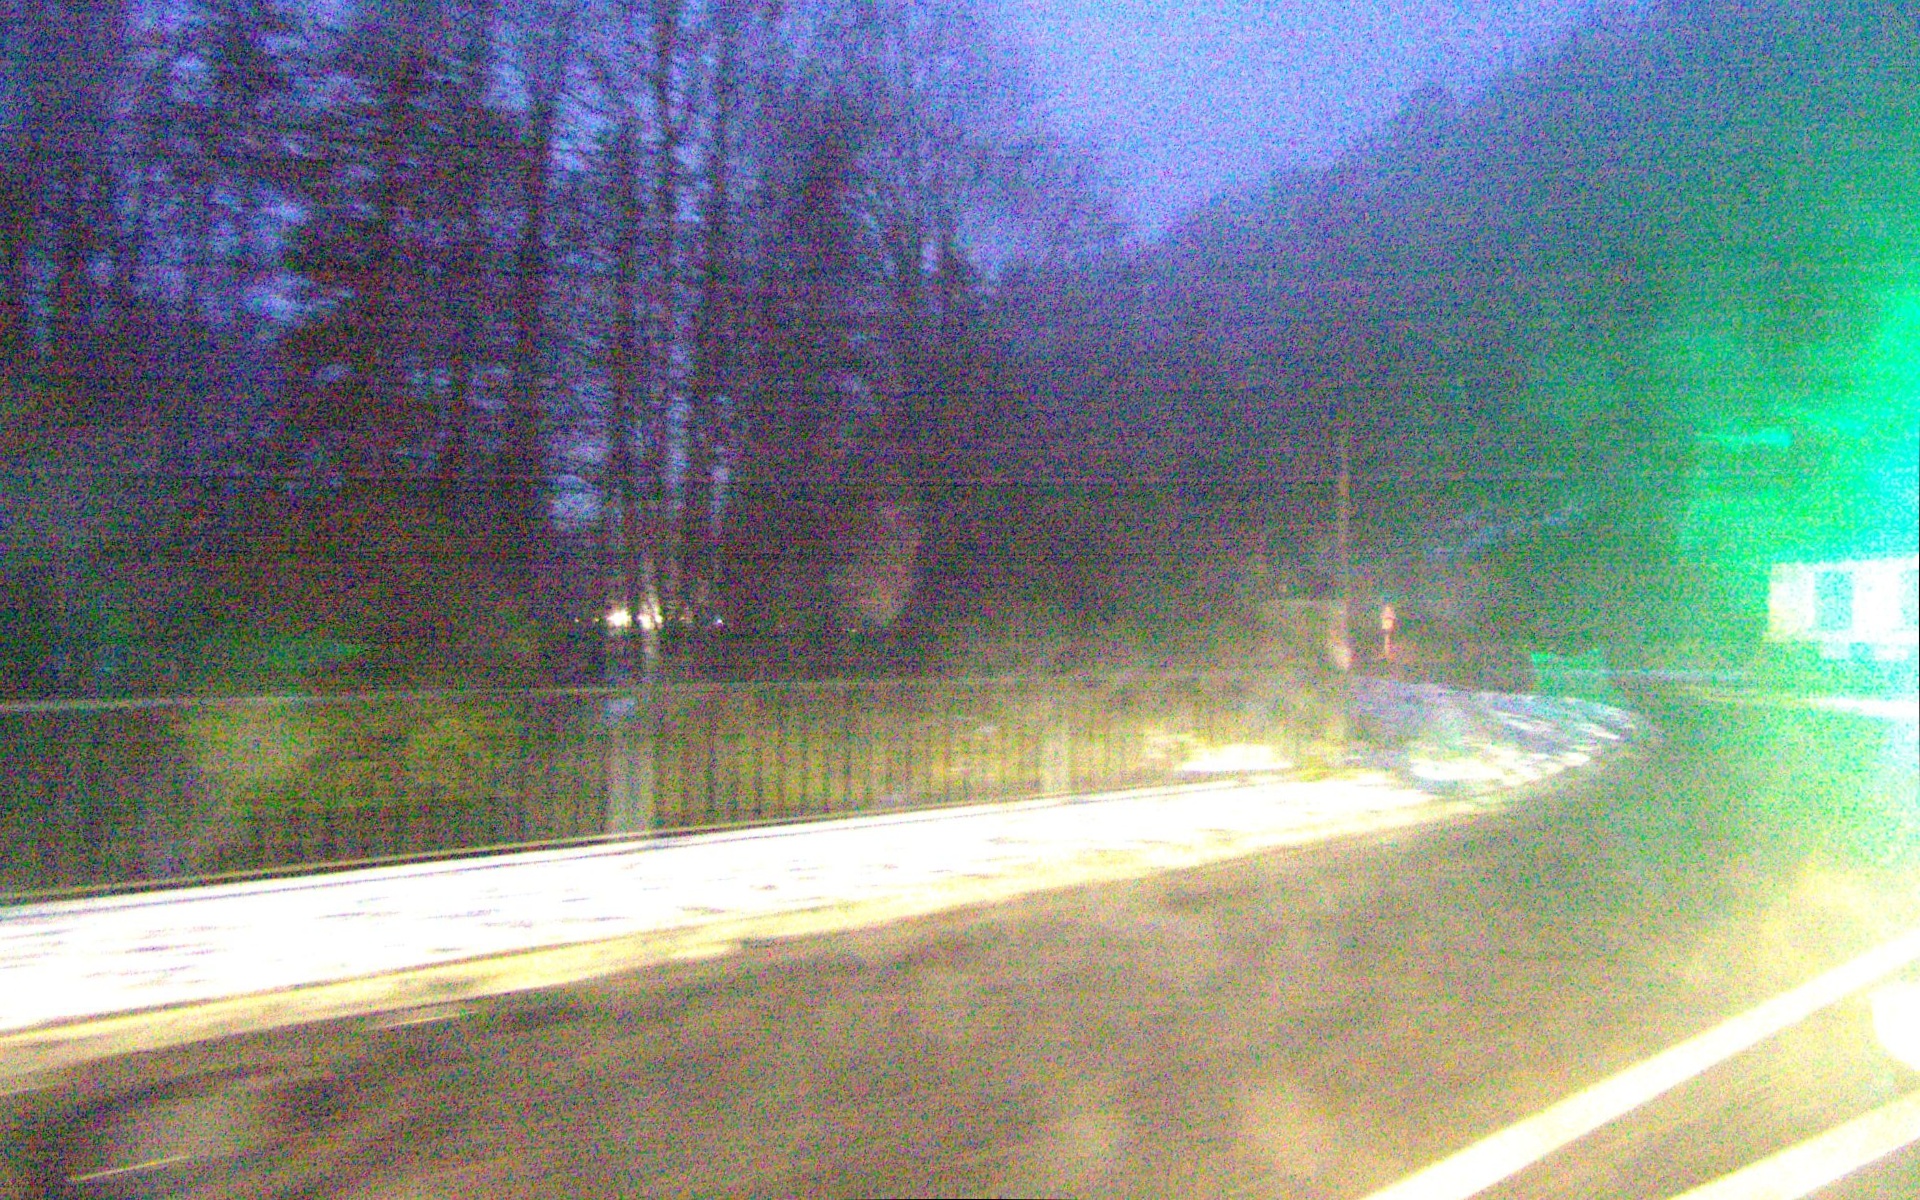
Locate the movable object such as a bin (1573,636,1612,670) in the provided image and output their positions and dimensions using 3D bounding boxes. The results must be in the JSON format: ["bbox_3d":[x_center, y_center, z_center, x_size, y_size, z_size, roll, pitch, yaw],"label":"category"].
[{"bbox_3d":[29.195,2.444,46.345,1.298,1.314,1.247,5,-5,39],"label":"movable object such as a bin"}]

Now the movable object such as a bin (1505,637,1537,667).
[{"bbox_3d":[26.848,2.482,48.071,1.212,1.343,1.150,-1,-1,34],"label":"movable object such as a bin"}]

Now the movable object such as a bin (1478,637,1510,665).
[{"bbox_3d":[26.115,2.489,49.117,1.300,1.326,1.173,-1,0,32],"label":"movable object such as a bin"}]

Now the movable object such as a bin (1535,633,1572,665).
[{"bbox_3d":[27.998,2.309,47.358,1.369,1.432,1.247,1,0,36],"label":"movable object such as a bin"}]
